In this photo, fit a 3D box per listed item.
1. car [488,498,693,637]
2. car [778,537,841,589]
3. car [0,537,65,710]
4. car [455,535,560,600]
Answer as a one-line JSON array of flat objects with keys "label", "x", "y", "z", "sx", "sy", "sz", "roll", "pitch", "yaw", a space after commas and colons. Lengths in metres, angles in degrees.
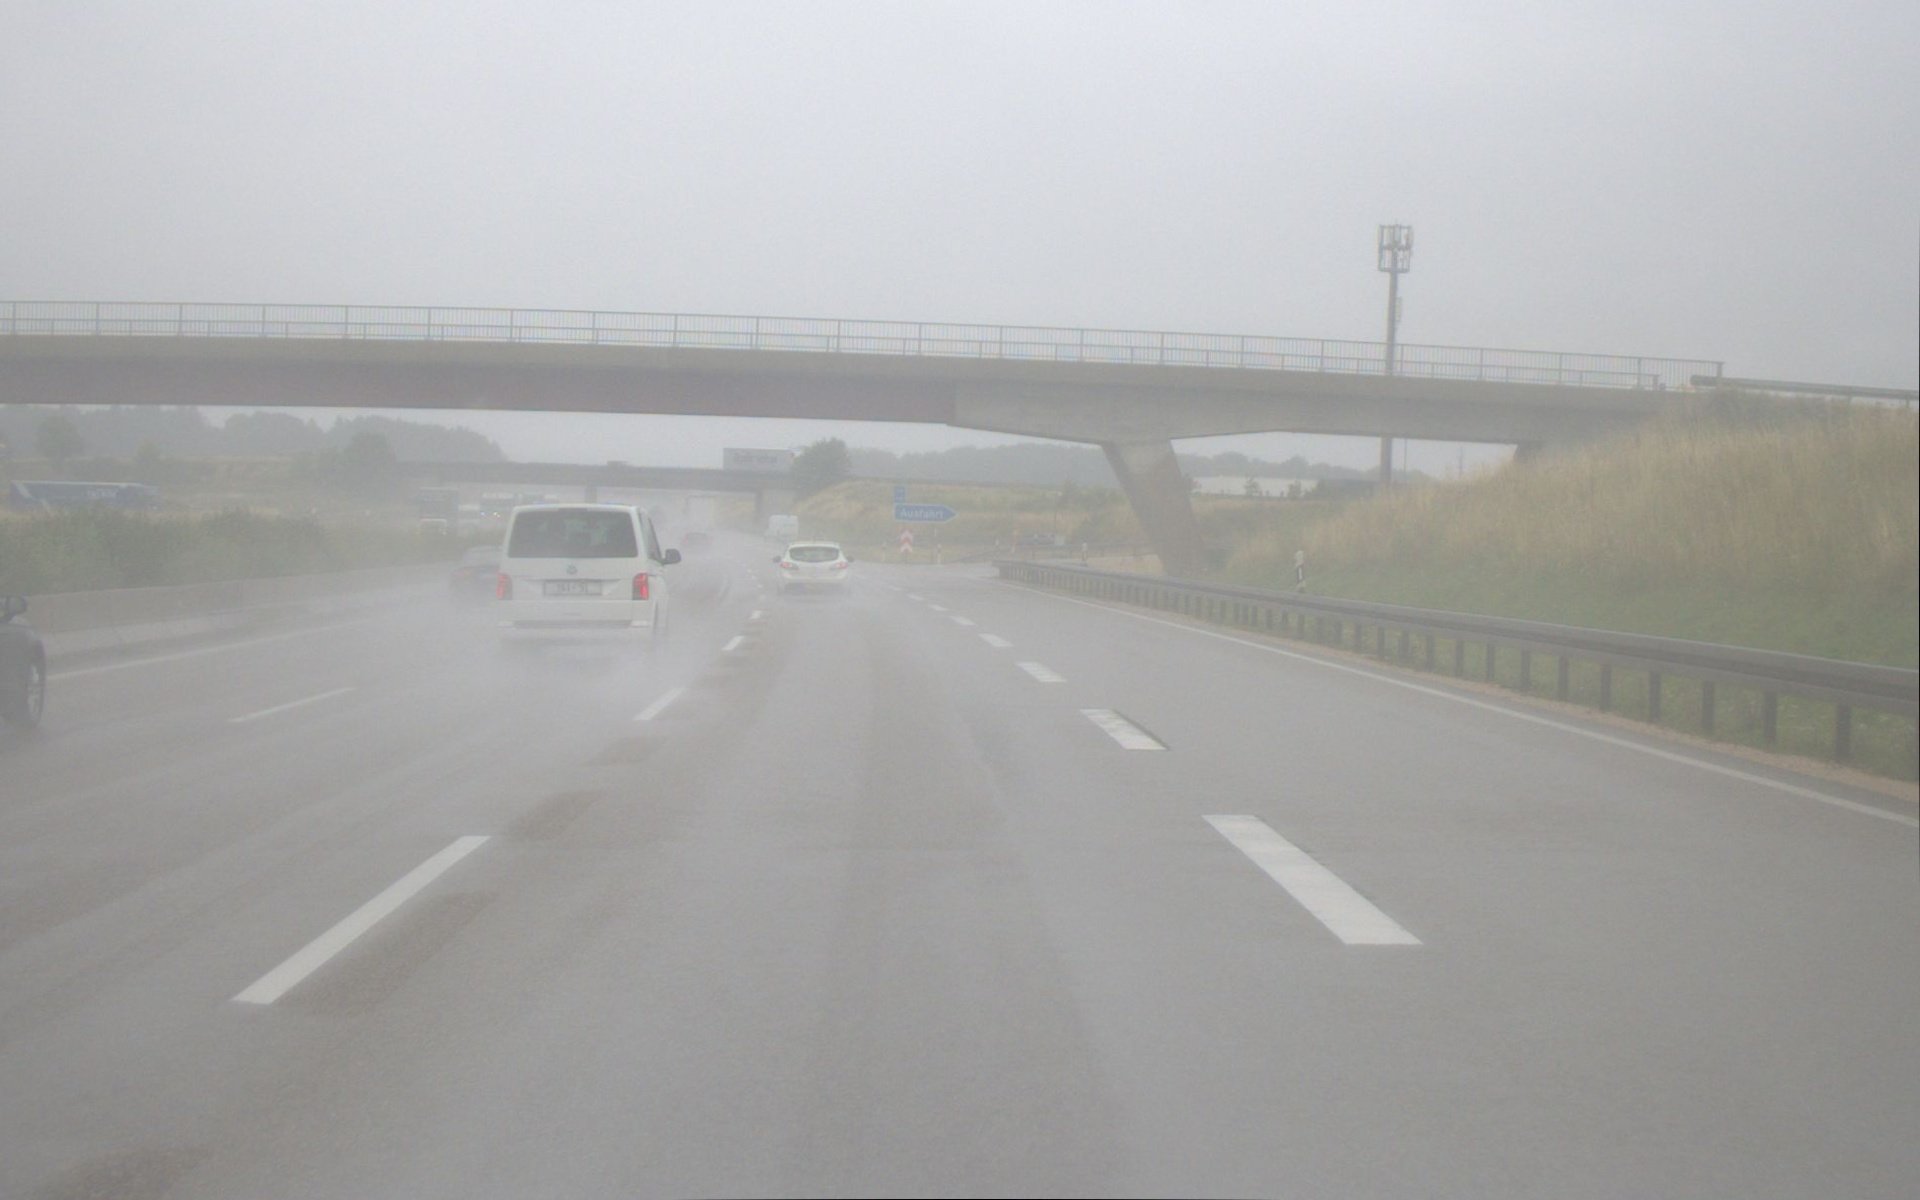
[{"label": "car", "x": -4.465, "y": -0.404, "z": 42.110, "sx": 1.897, "sy": 1.580, "sz": 4.000, "roll": 1, "pitch": 1, "yaw": 2}, {"label": "car", "x": -3.607, "y": -0.899, "z": 82.588, "sx": 1.468, "sy": 1.204, "sz": 2.992, "roll": 1, "pitch": 1, "yaw": -2}, {"label": "car", "x": -8.335, "y": 0.178, "z": 26.918, "sx": 1.612, "sy": 1.349, "sz": 4.000, "roll": 1, "pitch": 1, "yaw": 0}, {"label": "car", "x": -9.094, "y": -0.663, "z": 69.284, "sx": 1.468, "sy": 1.253, "sz": 3.339, "roll": 1, "pitch": 1, "yaw": 4}]
